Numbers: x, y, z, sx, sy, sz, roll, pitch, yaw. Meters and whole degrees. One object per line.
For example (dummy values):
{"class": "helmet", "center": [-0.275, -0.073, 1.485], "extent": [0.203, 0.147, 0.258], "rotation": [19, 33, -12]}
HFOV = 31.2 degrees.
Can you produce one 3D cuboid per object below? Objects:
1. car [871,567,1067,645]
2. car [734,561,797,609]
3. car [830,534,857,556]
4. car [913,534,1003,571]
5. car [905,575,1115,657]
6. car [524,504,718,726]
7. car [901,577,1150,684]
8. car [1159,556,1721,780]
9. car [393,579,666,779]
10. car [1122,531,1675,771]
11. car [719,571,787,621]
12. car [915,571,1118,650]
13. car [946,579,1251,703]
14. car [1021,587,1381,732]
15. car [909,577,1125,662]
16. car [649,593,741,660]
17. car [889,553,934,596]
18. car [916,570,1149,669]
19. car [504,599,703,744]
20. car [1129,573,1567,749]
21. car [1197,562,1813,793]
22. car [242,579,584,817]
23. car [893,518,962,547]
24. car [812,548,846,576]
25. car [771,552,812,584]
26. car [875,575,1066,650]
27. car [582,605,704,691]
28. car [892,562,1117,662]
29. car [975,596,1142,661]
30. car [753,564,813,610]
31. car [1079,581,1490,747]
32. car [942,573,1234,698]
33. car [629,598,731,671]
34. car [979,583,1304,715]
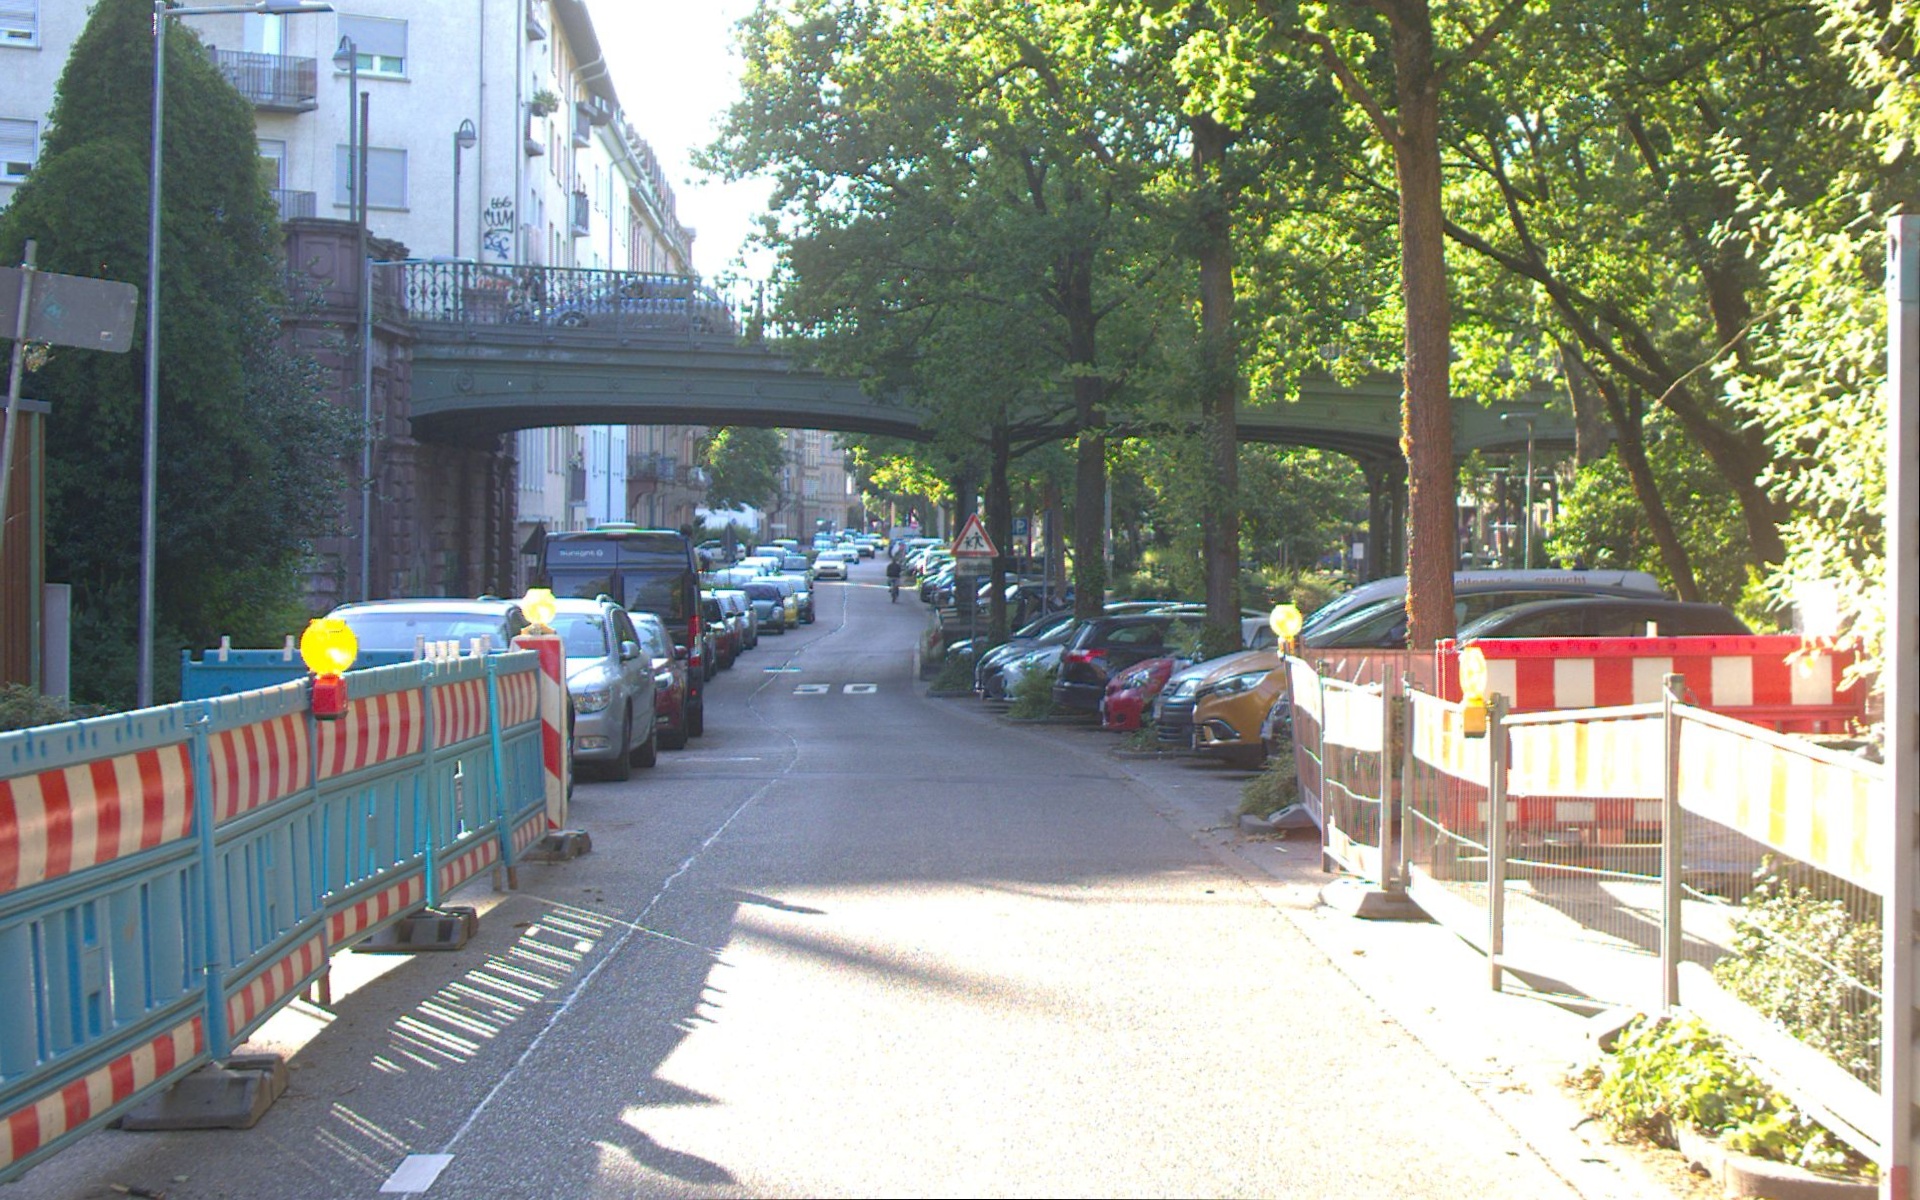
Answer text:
{"class": "car", "center": [0.186, 0.149, 79.195], "extent": [4.387, 1.604, 1.781], "rotation": [2, -1, -3]}
{"class": "car", "center": [-5.888, -0.434, 104.433], "extent": [1.812, 1.393, 3.975], "rotation": [-1, 0, -2]}
{"class": "car", "center": [-8.223, -3.887, 242.862], "extent": [1.812, 1.393, 4.612], "rotation": [-1, 0, -2]}
{"class": "car", "center": [-0.120, -2.364, 170.582], "extent": [4.387, 1.604, 1.781], "rotation": [2, -1, -1]}
{"class": "car", "center": [1.069, 0.350, 74.449], "extent": [4.387, 1.604, 1.781], "rotation": [2, -1, -3]}
{"class": "car", "center": [-4.098, 0.196, 42.428], "extent": [2.047, 2.489, 5.698], "rotation": [2, -1, -3]}
{"class": "car", "center": [1.167, 0.575, 62.972], "extent": [4.387, 1.779, 1.917], "rotation": [2, -1, -3]}
{"class": "car", "center": [4.004, 0.578, 29.179], "extent": [4.387, 1.696, 1.917], "rotation": [2, -1, -3]}
{"class": "car", "center": [-3.502, 0.595, 28.627], "extent": [1.812, 1.435, 4.351], "rotation": [2, 1, -2]}
{"class": "car", "center": [3.998, 0.477, 31.825], "extent": [4.741, 1.990, 1.917], "rotation": [2, -1, -4]}
{"class": "car", "center": [-5.970, -0.098, 99.403], "extent": [1.812, 1.393, 3.975], "rotation": [-1, 0, -2]}
{"class": "car", "center": [1.241, 0.241, 77.099], "extent": [4.387, 1.604, 1.781], "rotation": [2, -1, -3]}
{"class": "car", "center": [2.050, 0.626, 51.905], "extent": [4.387, 1.696, 1.917], "rotation": [2, -1, -3]}
{"class": "car", "center": [3.075, 0.771, 44.425], "extent": [4.387, 1.696, 1.917], "rotation": [2, -1, -3]}
{"class": "car", "center": [1.177, 0.422, 72.483], "extent": [4.387, 1.604, 1.781], "rotation": [2, -1, -3]}
{"class": "car", "center": [-5.741, 0.571, 74.856], "extent": [1.812, 1.393, 3.975], "rotation": [-1, 0, -2]}
{"class": "car", "center": [-1.973, -1.036, 140.486], "extent": [1.775, 1.604, 4.402], "rotation": [2, -1, -1]}
{"class": "car", "center": [1.399, 0.393, 67.691], "extent": [4.387, 1.779, 1.917], "rotation": [2, -1, -3]}
{"class": "car", "center": [-3.800, 0.741, 37.213], "extent": [1.812, 1.448, 4.350], "rotation": [-1, 0, -2]}
{"class": "car", "center": [4.125, 0.661, 37.036], "extent": [4.387, 1.696, 1.917], "rotation": [2, -1, -3]}
{"class": "car", "center": [4.199, 0.605, 26.922], "extent": [4.386, 1.601, 1.917], "rotation": [2, -1, -4]}
{"class": "car", "center": [-3.522, 0.606, 22.797], "extent": [1.715, 1.413, 4.106], "rotation": [-1, 0, -2]}
{"class": "car", "center": [-2.108, -4.352, 221.702], "extent": [4.387, 1.604, 1.781], "rotation": [2, -1, -1]}
{"class": "car", "center": [-6.997, -2.007, 183.821], "extent": [1.812, 1.393, 3.975], "rotation": [-1, 0, -2]}
{"class": "car", "center": [-7.825, -1.467, 159.558], "extent": [1.812, 1.393, 3.975], "rotation": [-1, 0, -2]}
{"class": "car", "center": [0.238, 0.308, 81.533], "extent": [4.387, 1.604, 1.781], "rotation": [2, -1, -3]}
{"class": "car", "center": [-5.376, 0.802, 58.726], "extent": [1.812, 1.393, 3.975], "rotation": [-1, 0, -2]}
{"class": "car", "center": [0.875, 0.264, 69.803], "extent": [4.387, 1.855, 1.917], "rotation": [2, -1, -3]}
{"class": "car", "center": [2.650, 0.775, 92.838], "extent": [4.387, 1.604, 1.781], "rotation": [2, -1, -1]}
{"class": "car", "center": [-5.633, -0.409, 109.574], "extent": [1.812, 1.393, 3.975], "rotation": [-1, 0, -2]}
{"class": "car", "center": [3.651, 0.734, 39.227], "extent": [4.387, 1.696, 1.917], "rotation": [2, -1, -3]}
{"class": "car", "center": [1.978, 0.570, 54.177], "extent": [4.387, 1.779, 1.917], "rotation": [2, -1, -3]}
{"class": "car", "center": [-5.539, 0.677, 68.355], "extent": [1.812, 1.393, 3.975], "rotation": [-1, 0, -2]}
{"class": "car", "center": [2.549, 0.708, 48.992], "extent": [4.387, 1.696, 1.917], "rotation": [2, -1, -3]}
